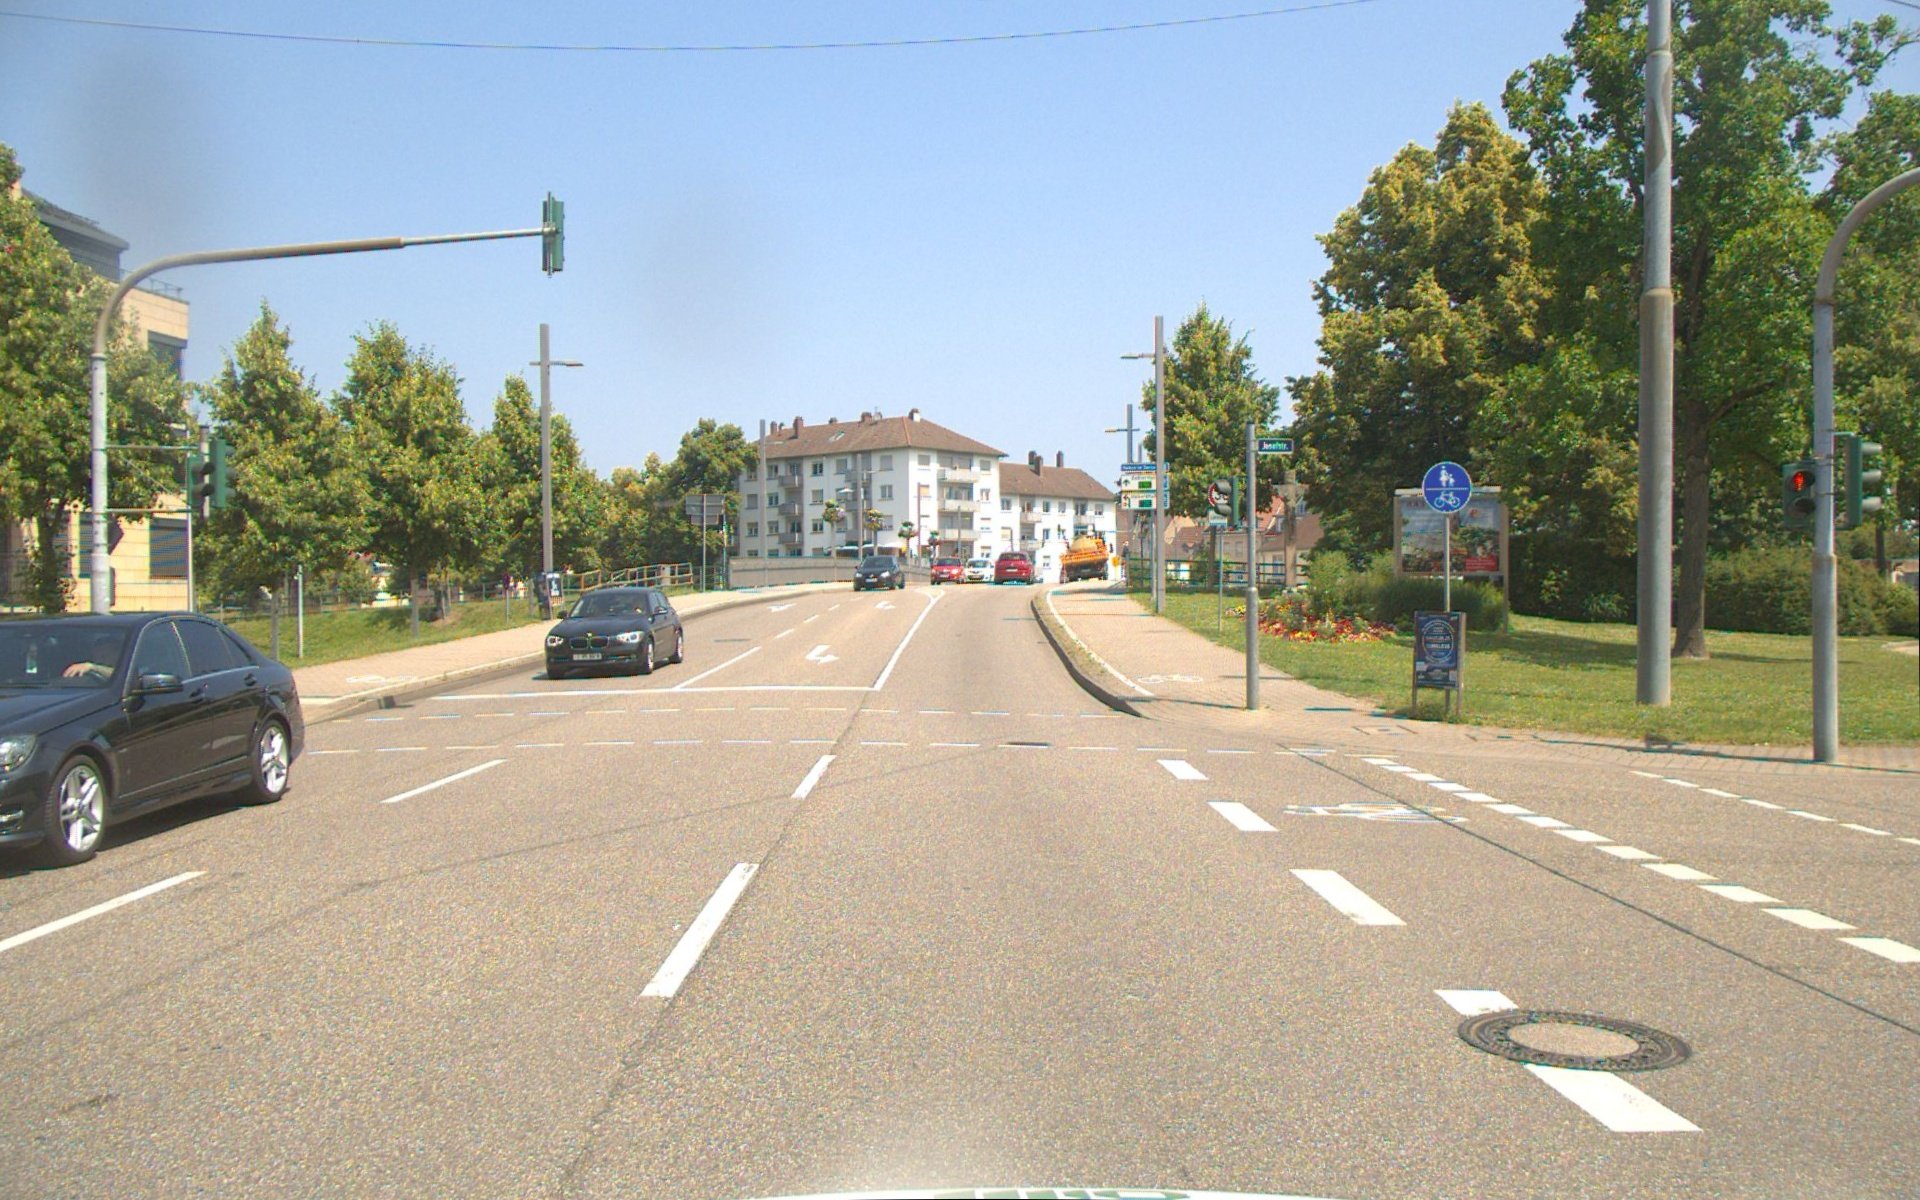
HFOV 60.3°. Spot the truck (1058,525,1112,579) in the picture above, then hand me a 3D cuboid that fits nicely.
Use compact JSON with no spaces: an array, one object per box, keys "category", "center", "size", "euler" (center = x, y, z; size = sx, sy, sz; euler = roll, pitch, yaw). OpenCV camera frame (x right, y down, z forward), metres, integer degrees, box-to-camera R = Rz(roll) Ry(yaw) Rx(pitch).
[{"category":"truck","center":[6.757,-2.527,88.886],"size":[2.550,2.738,5.828],"euler":[-1,1,8]}]

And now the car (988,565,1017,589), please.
[{"category":"car","center":[3.264,-1.770,125.772],"size":[1.700,1.669,3.924],"euler":[-4,0,8]}]

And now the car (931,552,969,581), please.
[{"category":"car","center":[-0.500,-1.822,90.683],"size":[1.612,1.489,3.864],"euler":[0,0,7]}]

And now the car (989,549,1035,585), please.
[{"category":"car","center":[2.571,-1.605,81.134],"size":[1.948,1.641,4.345],"euler":[-1,0,5]}]

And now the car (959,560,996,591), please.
[{"category":"car","center":[1.169,-1.579,108.111],"size":[1.798,1.892,4.667],"euler":[-2,0,8]}]

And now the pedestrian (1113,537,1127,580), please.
[{"category":"pedestrian","center":[7.591,-1.971,78.505],"size":[0.536,1.994,0.672],"euler":[-1,0,-4]}]

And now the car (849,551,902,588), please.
[{"category":"car","center":[-3.615,-1.303,71.488],"size":[1.677,1.511,4.034],"euler":[1,0,6]}]

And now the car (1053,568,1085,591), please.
[{"category":"car","center":[7.660,-1.415,115.915],"size":[1.995,1.529,4.420],"euler":[1,0,7]}]

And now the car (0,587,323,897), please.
[{"category":"car","center":[-5.764,0.738,10.633],"size":[1.720,1.587,4.316],"euler":[-2,1,-2]}]

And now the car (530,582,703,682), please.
[{"category":"car","center":[-5.878,0.497,28.778],"size":[1.798,1.423,4.053],"euler":[-3,2,5]}]
